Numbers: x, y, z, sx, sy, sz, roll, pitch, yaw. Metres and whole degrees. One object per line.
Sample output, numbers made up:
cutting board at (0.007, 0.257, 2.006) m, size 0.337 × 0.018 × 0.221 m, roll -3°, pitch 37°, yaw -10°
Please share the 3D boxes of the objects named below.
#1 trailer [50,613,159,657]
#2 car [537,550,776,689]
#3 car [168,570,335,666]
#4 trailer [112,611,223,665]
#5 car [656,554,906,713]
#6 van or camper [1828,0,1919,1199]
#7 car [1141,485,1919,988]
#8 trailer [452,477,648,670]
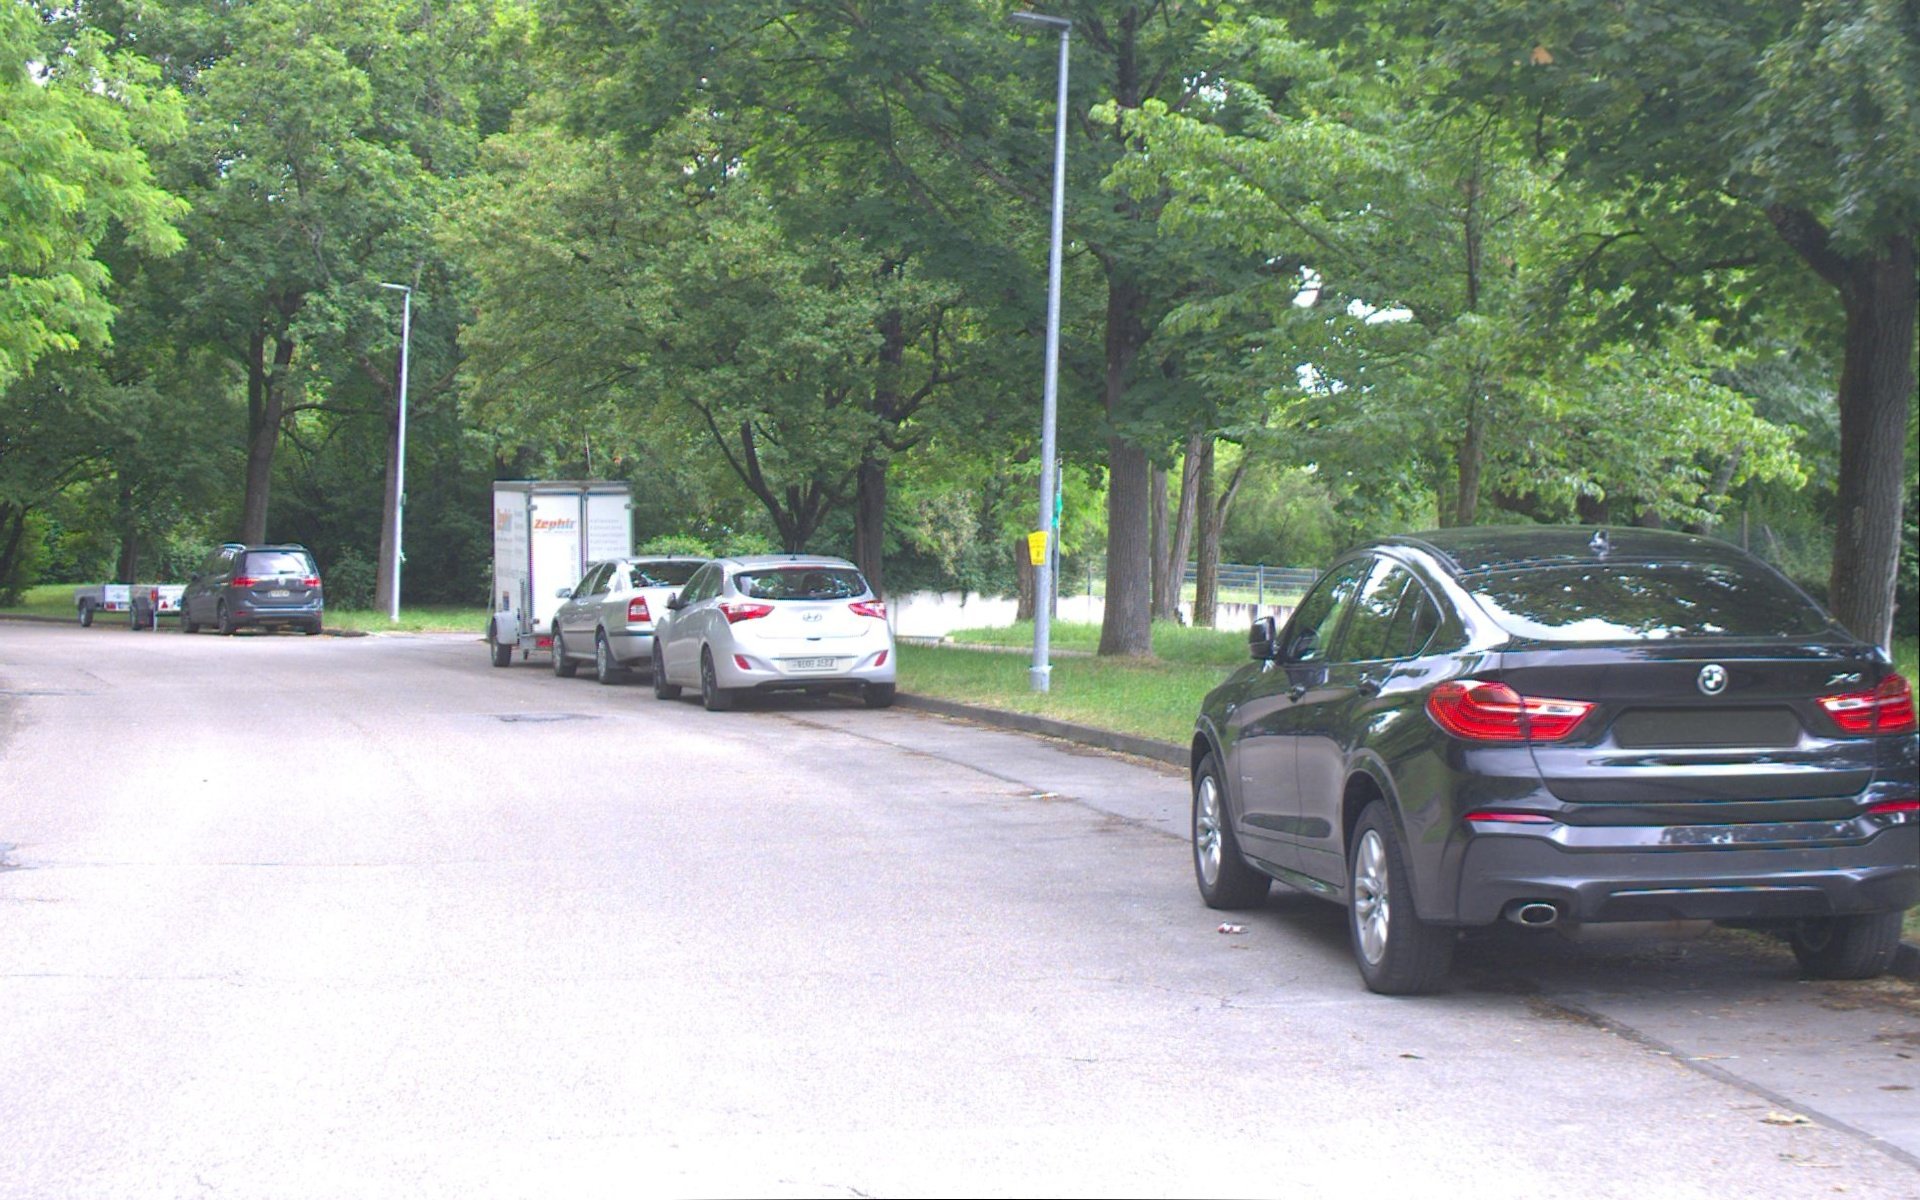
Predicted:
trailer at (-18.105, 0.751, 72.676) m, size 1.363 × 0.845 × 3.278 m, roll 3°, pitch -3°, yaw -30°
car at (-3.621, 0.200, 40.226) m, size 1.740 × 1.520 × 4.637 m, roll 0°, pitch 0°, yaw -19°
car at (-13.036, 0.348, 63.023) m, size 1.775 × 1.657 × 4.841 m, roll 2°, pitch -2°, yaw -26°
trailer at (-15.812, 0.741, 68.458) m, size 1.357 × 0.965 × 3.893 m, roll 2°, pitch -1°, yaw -25°
car at (-1.828, 0.299, 33.841) m, size 1.902 × 1.471 × 4.060 m, roll 0°, pitch 0°, yaw -11°
van or camper at (2.892, -0.005, 3.478) m, size 2.161 × 2.528 × 6.032 m, roll 1°, pitch -1°, yaw -3°
car at (2.066, 0.447, 13.570) m, size 1.848 × 1.637 × 4.531 m, roll 0°, pitch 0°, yaw -8°
trailer at (-5.453, -0.335, 45.326) m, size 1.760 × 2.418 × 3.888 m, roll 0°, pitch 0°, yaw -19°
